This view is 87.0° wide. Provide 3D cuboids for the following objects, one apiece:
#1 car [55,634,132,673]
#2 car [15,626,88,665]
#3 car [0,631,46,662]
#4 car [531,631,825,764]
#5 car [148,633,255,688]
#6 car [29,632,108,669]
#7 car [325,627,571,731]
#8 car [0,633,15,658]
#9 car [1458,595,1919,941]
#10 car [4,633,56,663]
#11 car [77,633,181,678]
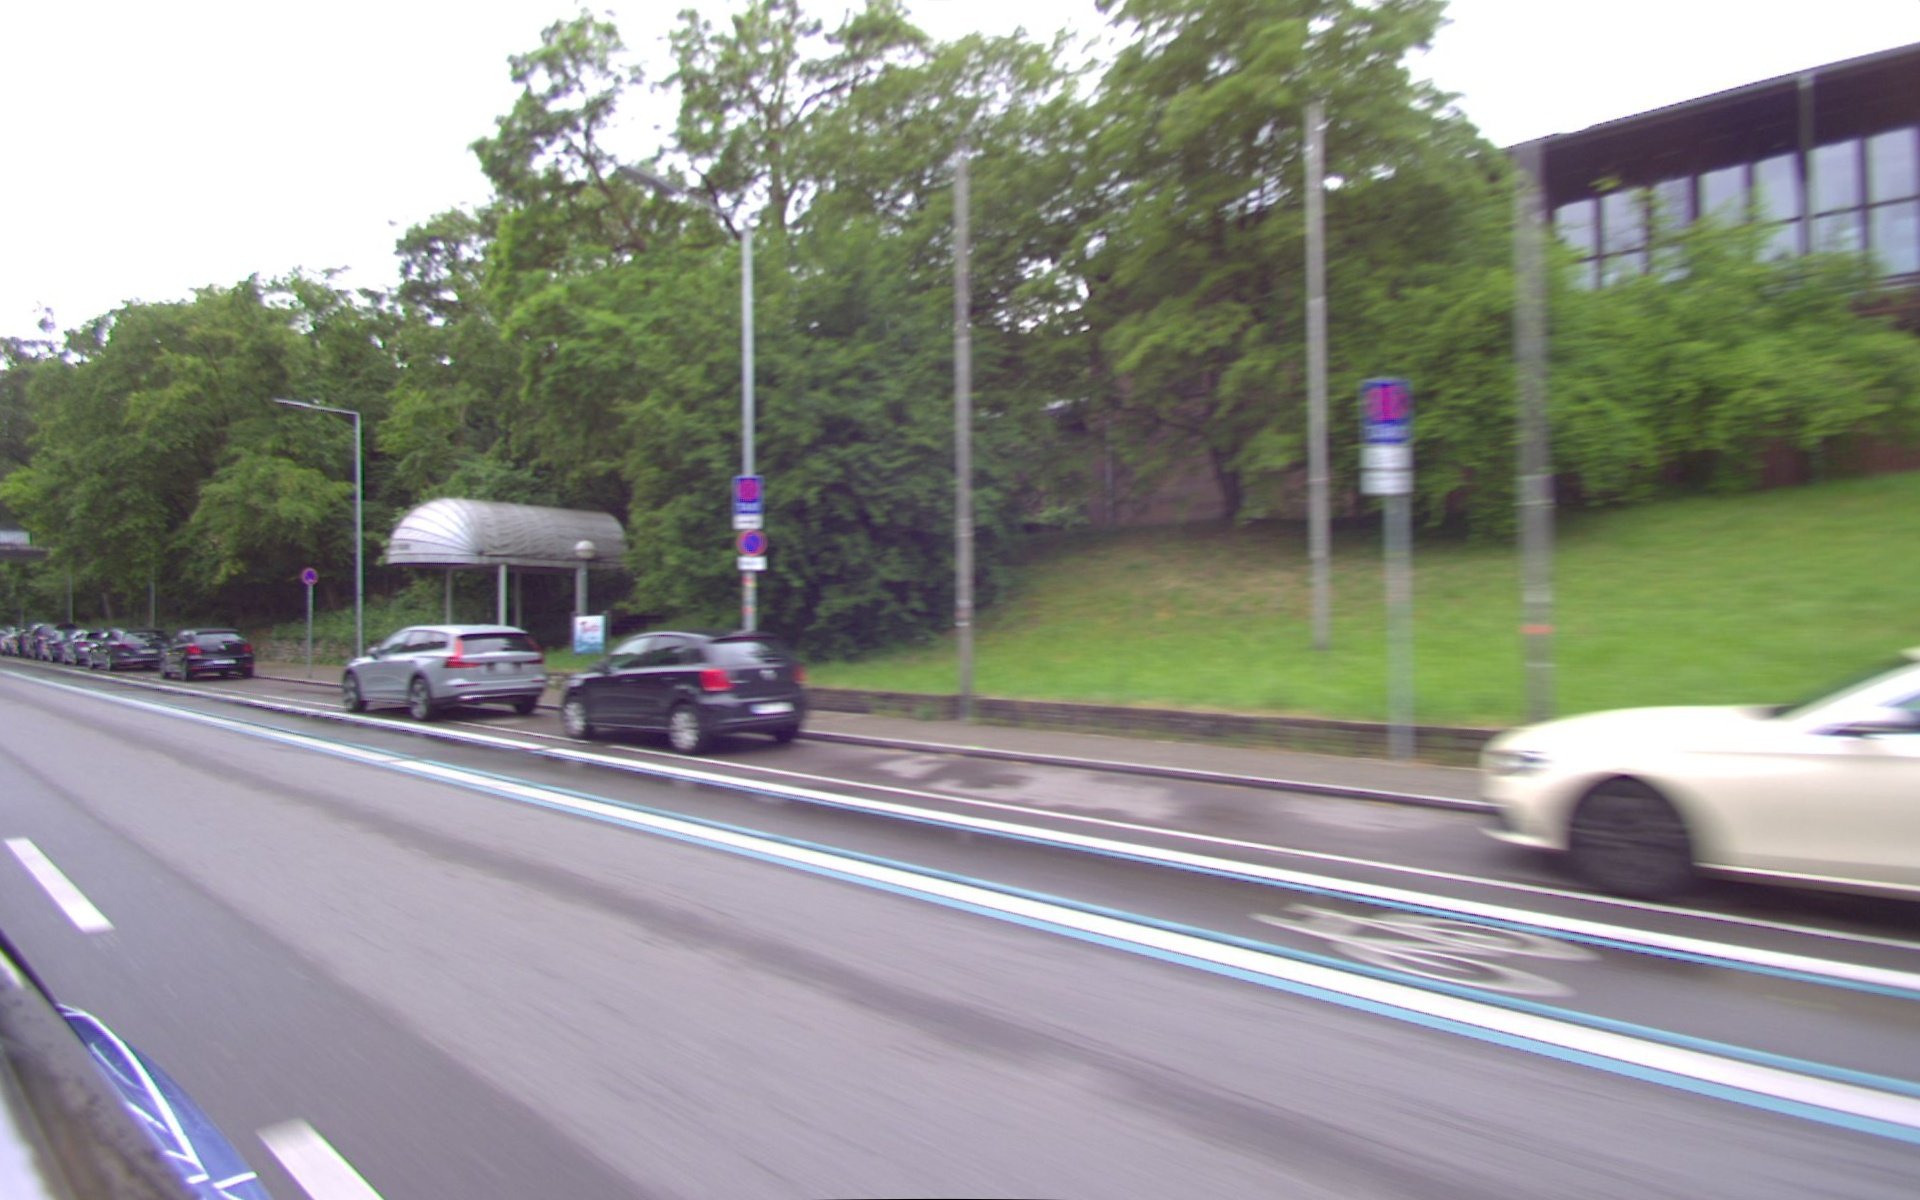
[{"bbox_3d":[-34.836,2.136,40.644,4.293,1.434,1.765,-3,-2,41],"label":"car"},{"bbox_3d":[-43.751,2.180,48.706,4.834,1.755,1.970,-2,-2,40],"label":"car"},{"bbox_3d":[-51.231,2.525,55.077,4.229,1.558,1.670,-2,-2,40],"label":"car"},{"bbox_3d":[-3.723,1.122,13.015,4.051,1.448,1.678,-1,-2,40],"label":"car"},{"bbox_3d":[-22.149,1.704,29.494,3.990,1.468,1.653,-2,-2,40],"label":"car"},{"bbox_3d":[-39.508,2.231,44.823,4.894,1.484,1.963,-2,-1,40],"label":"car"},{"bbox_3d":[-8.808,1.244,17.252,4.668,1.493,2.056,-2,-1,39],"label":"car"},{"bbox_3d":[-59.330,2.810,61.760,4.035,1.488,1.813,-2,-2,38],"label":"car"},{"bbox_3d":[5.509,0.782,5.148,4.983,1.618,1.969,-2,-2,42],"label":"car"},{"bbox_3d":[-47.981,2.485,52.197,3.841,1.450,1.593,-3,-2,41],"label":"car"},{"bbox_3d":[-29.192,1.910,35.505,4.751,1.474,1.936,-2,-2,39],"label":"car"}]
